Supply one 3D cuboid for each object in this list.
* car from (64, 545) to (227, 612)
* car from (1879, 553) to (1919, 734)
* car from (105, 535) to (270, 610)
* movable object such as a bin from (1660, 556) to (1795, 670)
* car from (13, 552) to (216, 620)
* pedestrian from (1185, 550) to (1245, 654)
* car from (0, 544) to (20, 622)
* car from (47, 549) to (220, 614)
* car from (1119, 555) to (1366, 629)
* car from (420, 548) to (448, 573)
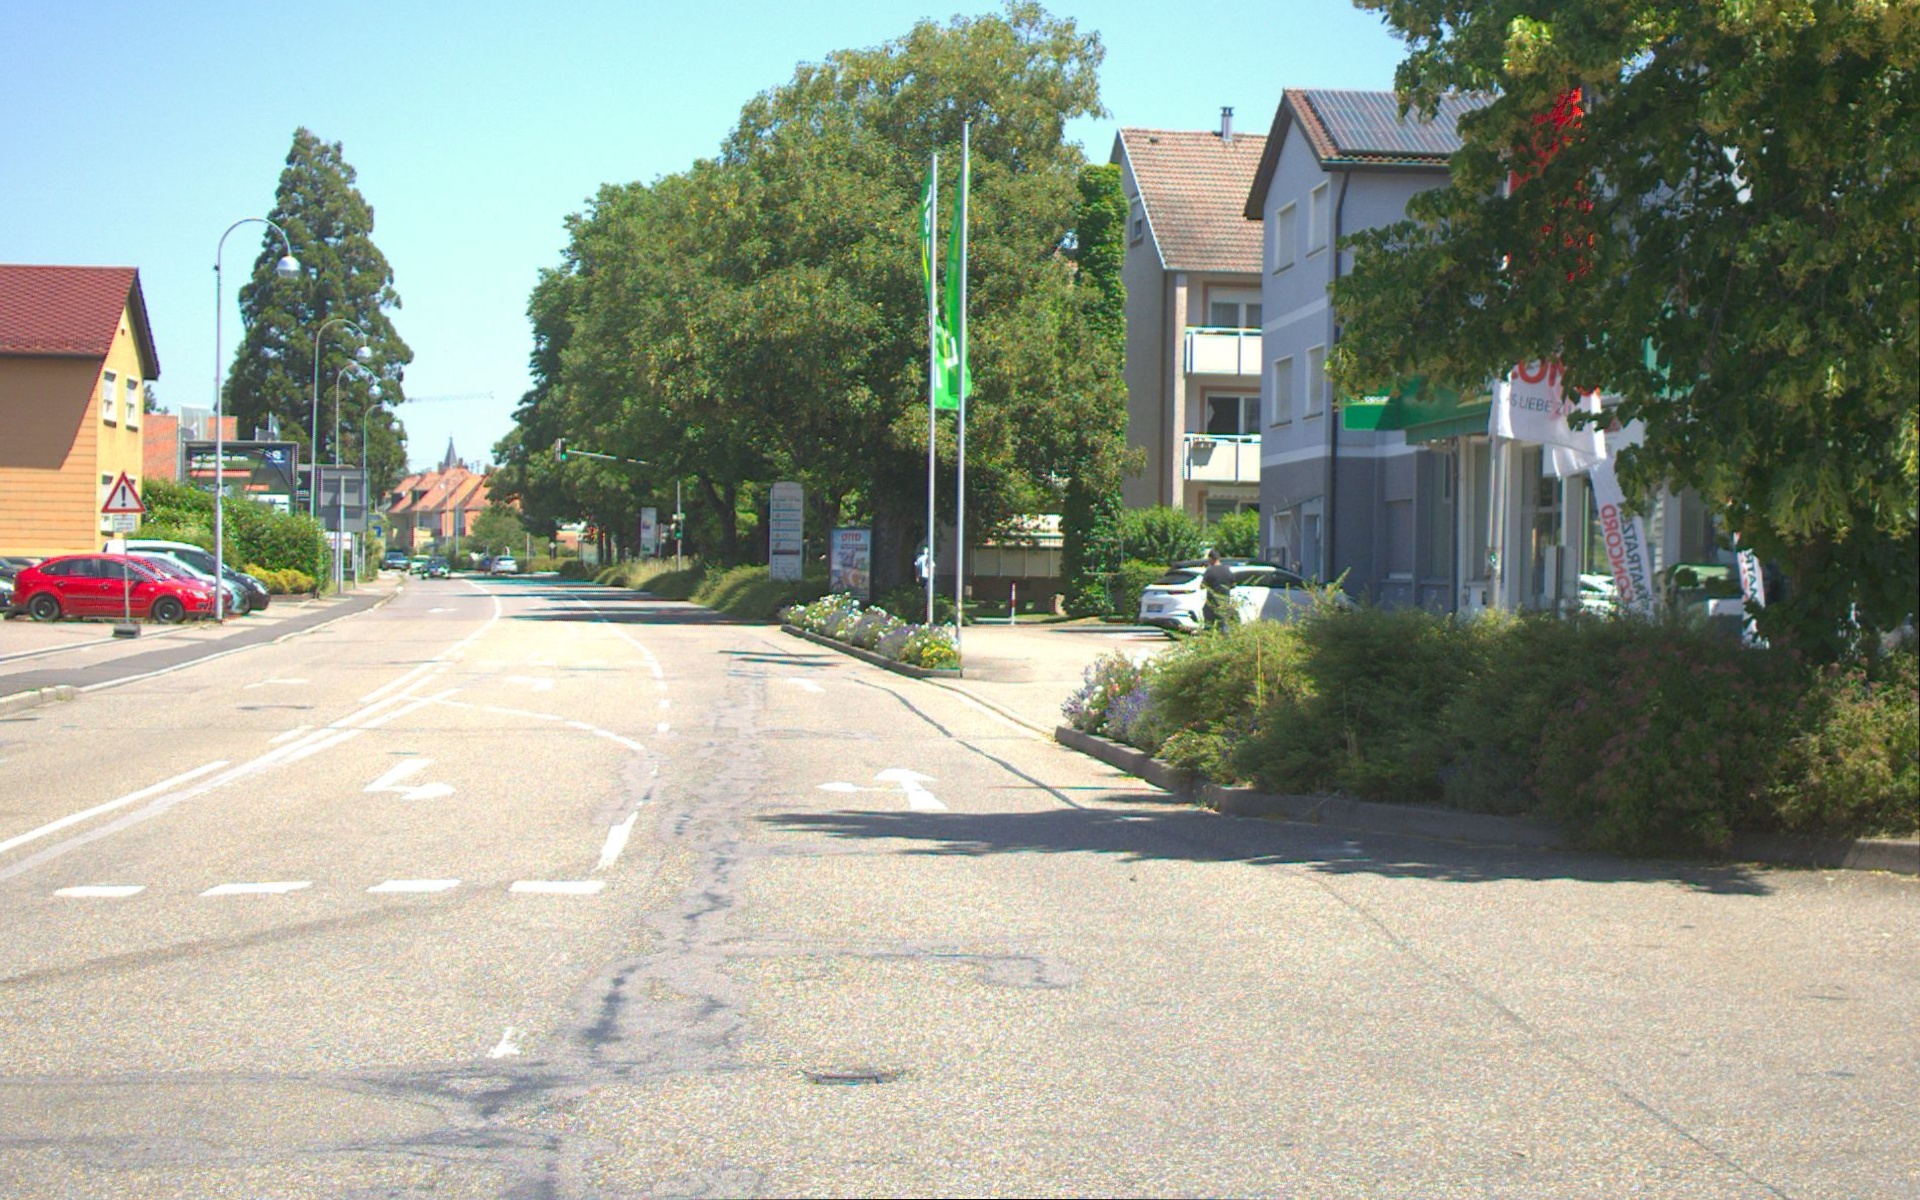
[{"bbox_3d":[-19.453,-0.521,82.246,3.663,1.575,1.923,0,1,-9],"label":"car"},{"bbox_3d":[10.889,0.386,31.701,4.584,1.636,1.999,0,1,13],"label":"car"},{"bbox_3d":[-19.911,-0.709,88.728,4.092,1.891,2.001,0,1,-11],"label":"car"},{"bbox_3d":[10.053,0.166,45.049,1.563,1.418,0.702,-2,1,1],"label":"movable object such as a bin"},{"bbox_3d":[-18.443,-0.310,75.158,4.125,1.439,1.827,0,1,-7],"label":"car"},{"bbox_3d":[4.041,0.030,54.525,0.840,1.635,1.010,0,0,-2],"label":"pedestrian"},{"bbox_3d":[-22.943,-0.391,76.585,3.663,1.703,1.893,0,1,-9],"label":"car"},{"bbox_3d":[-18.657,-0.418,77.743,3.663,1.452,1.893,0,1,-9],"label":"car"},{"bbox_3d":[5.403,-0.167,65.720,4.343,1.366,1.956,0,1,-29],"label":"car"},{"bbox_3d":[-33.441,-2.520,218.629,1.709,1.490,4.279,0,2,-8],"label":"car"}]
